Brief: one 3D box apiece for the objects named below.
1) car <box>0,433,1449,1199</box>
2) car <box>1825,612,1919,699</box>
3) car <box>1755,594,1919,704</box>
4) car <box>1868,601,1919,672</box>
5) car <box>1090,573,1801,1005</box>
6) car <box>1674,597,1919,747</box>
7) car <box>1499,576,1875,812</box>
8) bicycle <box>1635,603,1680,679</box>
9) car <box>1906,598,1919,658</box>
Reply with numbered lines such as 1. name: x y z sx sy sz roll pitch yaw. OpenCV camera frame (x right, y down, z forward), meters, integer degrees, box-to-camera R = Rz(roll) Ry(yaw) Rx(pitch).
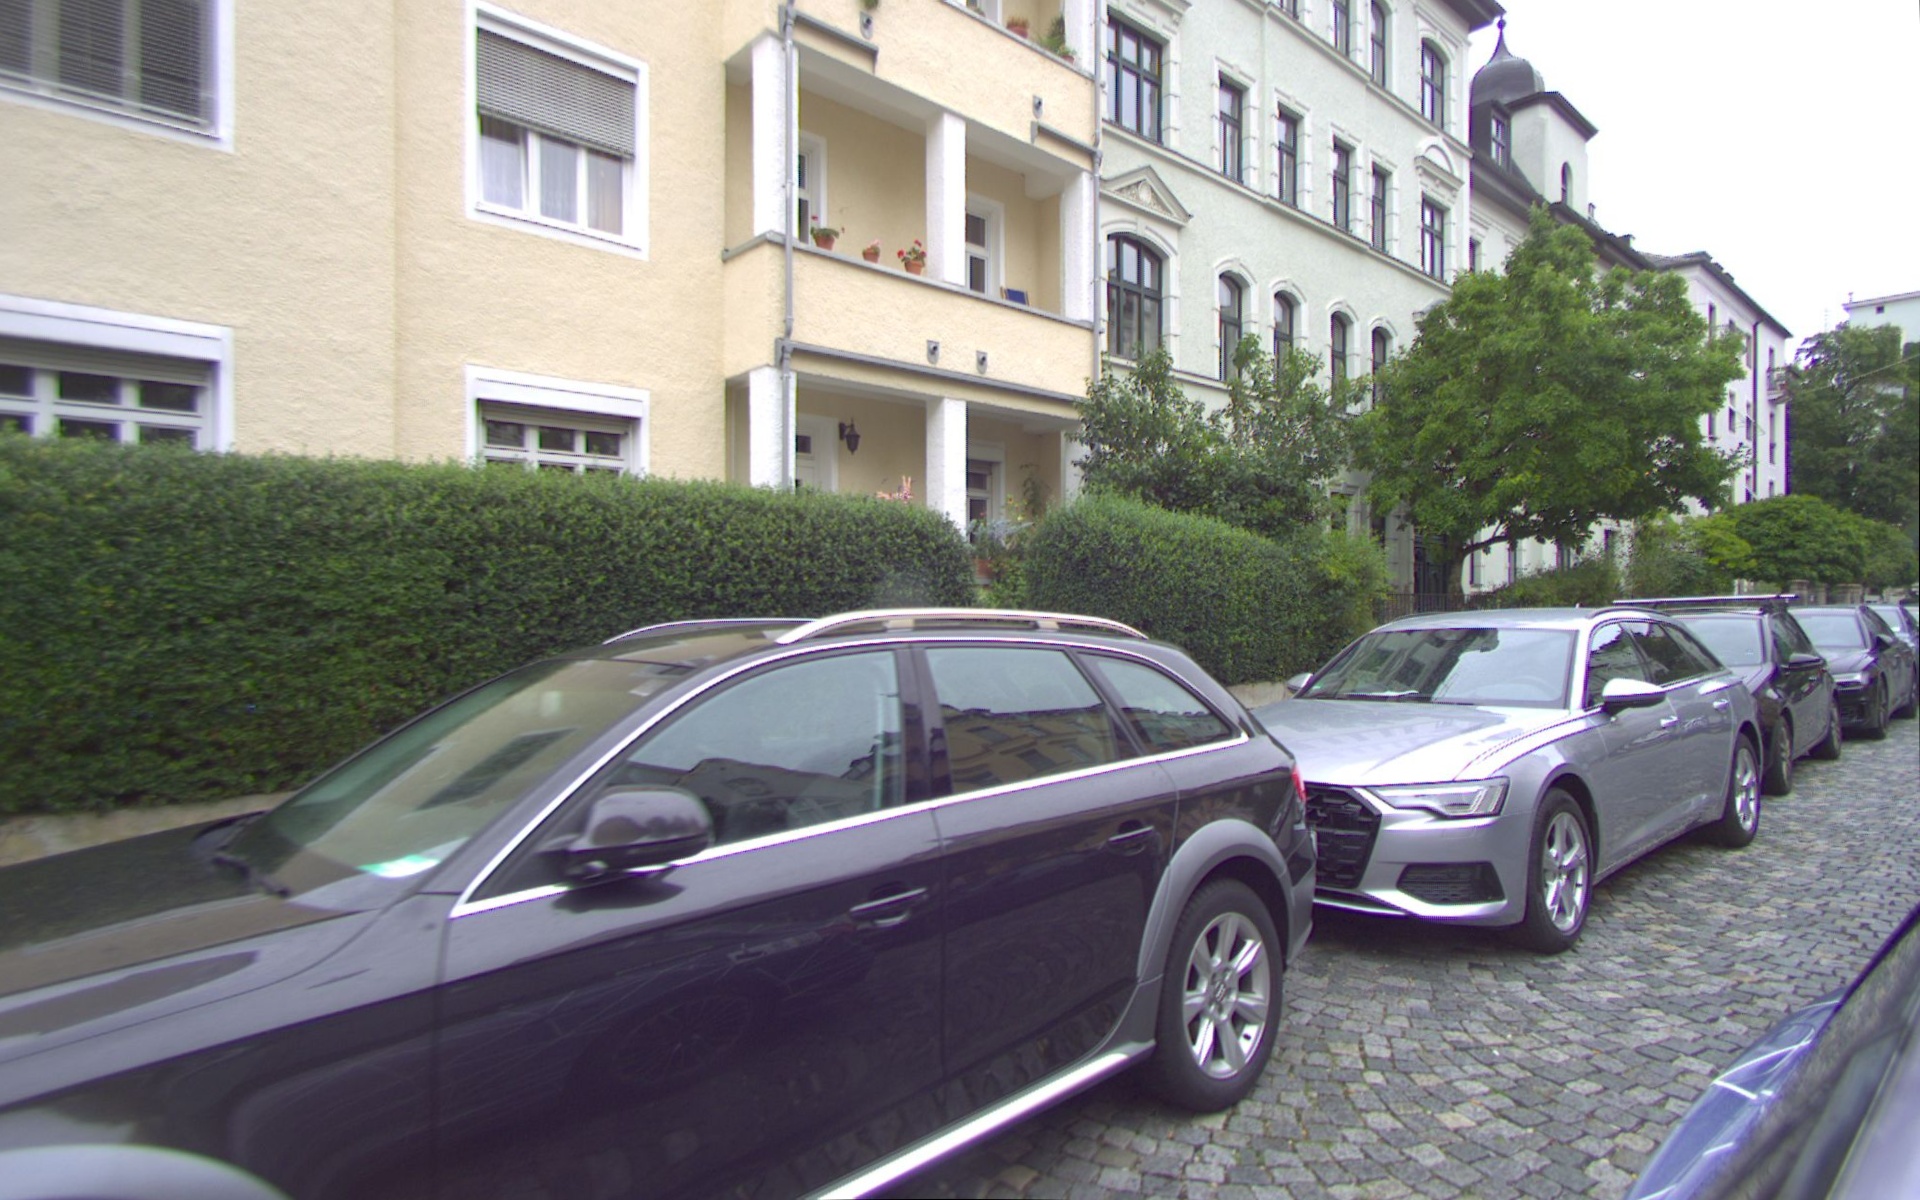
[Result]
1. car: -0.760 0.622 2.784 4.927 1.572 1.996 0 -2 -41
2. car: 18.258 0.998 19.469 4.401 1.479 1.758 0 -2 -41
3. car: 14.421 0.691 16.085 4.729 1.508 1.885 0 -2 -41
4. car: 22.471 0.766 23.097 5.016 1.522 1.907 0 -2 -41
5. car: 3.186 0.703 6.056 4.898 1.572 1.997 0 -1 -40
6. car: 10.723 0.761 12.578 4.961 1.508 1.821 0 -2 -41
7. car: 6.804 0.675 9.297 4.219 1.675 1.896 0 -1 -42
8. bicycle: 11.819 0.665 17.166 0.578 1.210 1.628 -1 -1 34
9. car: 26.281 0.694 26.626 3.622 1.528 1.669 0 -2 -42
